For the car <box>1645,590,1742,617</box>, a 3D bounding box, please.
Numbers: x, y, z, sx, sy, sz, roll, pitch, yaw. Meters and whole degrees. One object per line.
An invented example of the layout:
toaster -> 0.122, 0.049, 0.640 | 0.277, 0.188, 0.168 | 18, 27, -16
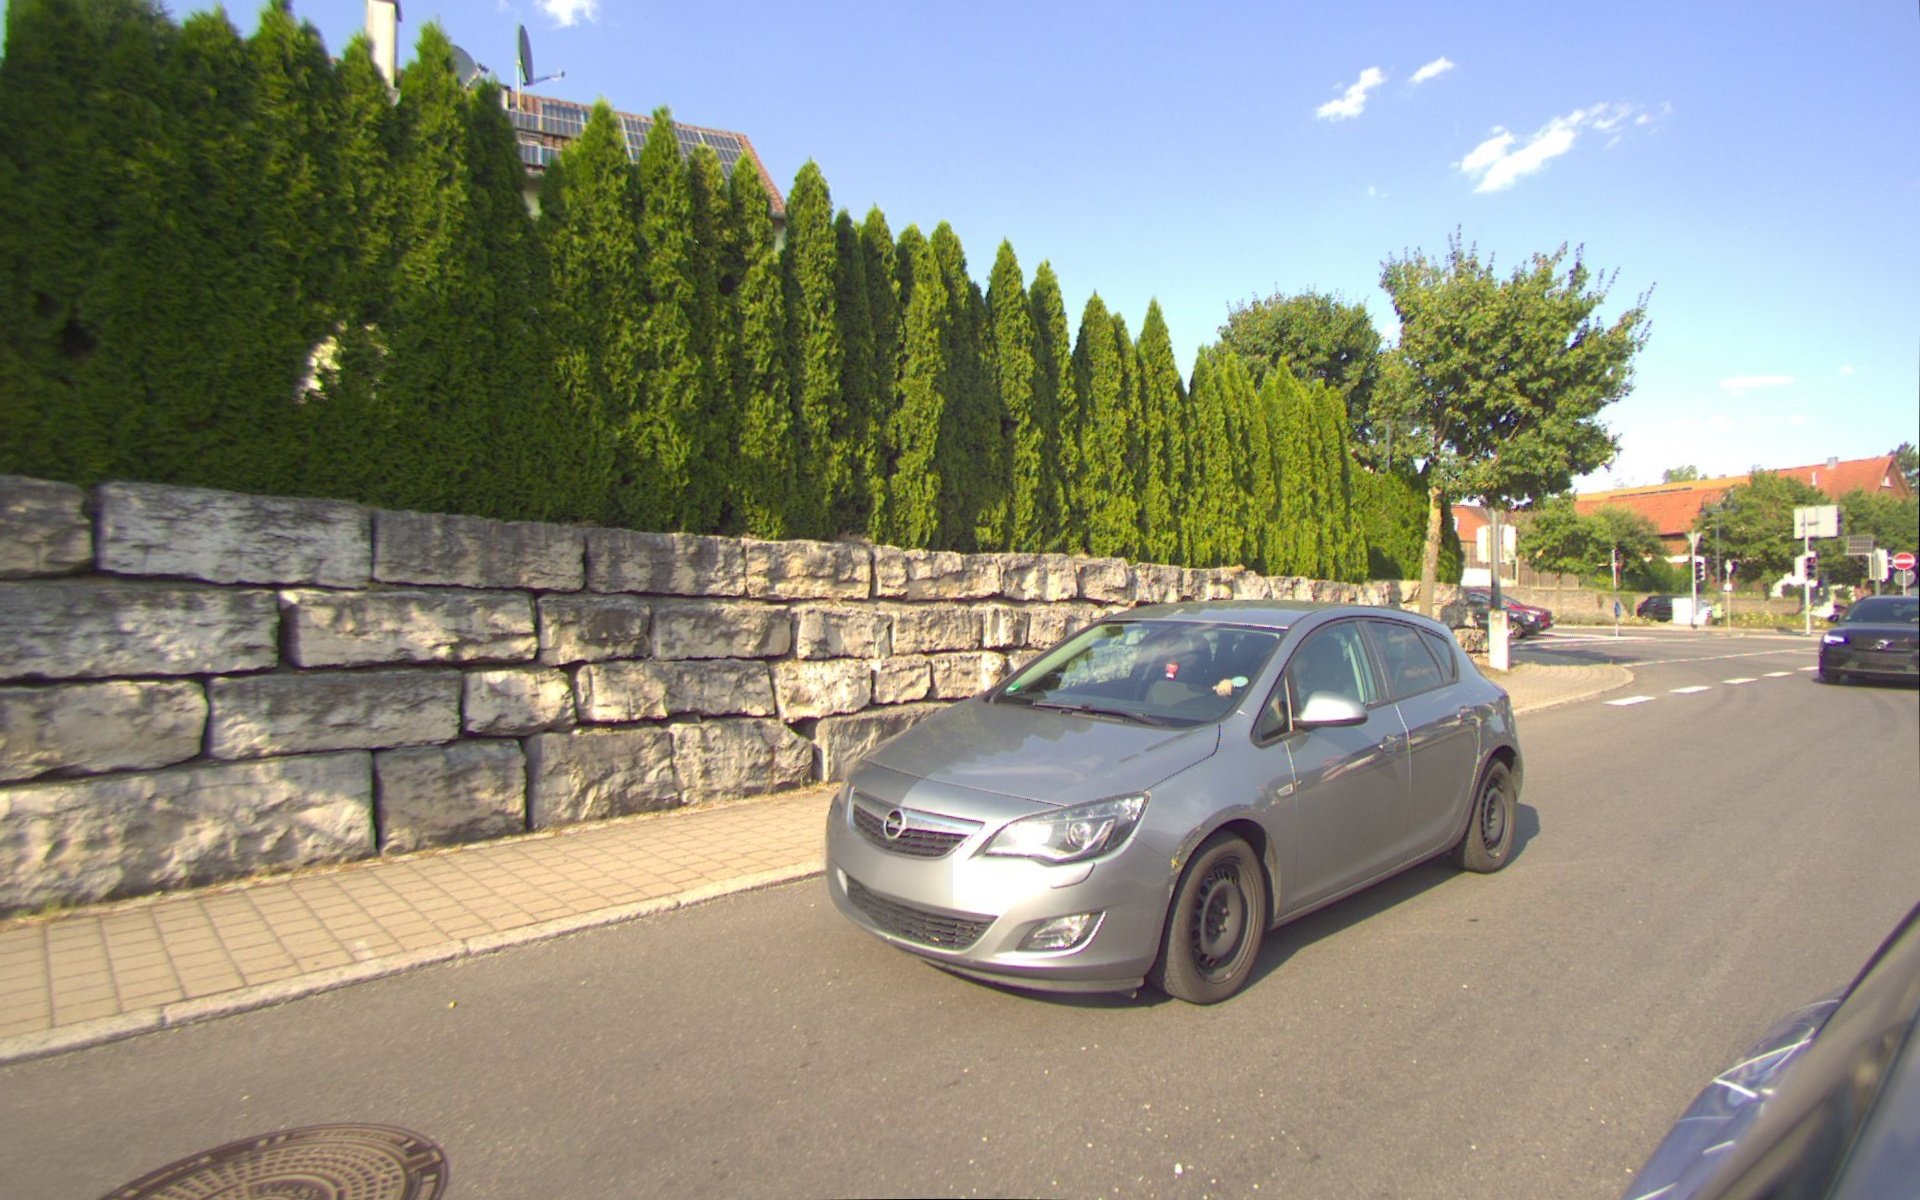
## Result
car -> 40.982, 0.182, 56.624 | 1.644, 1.475, 4.086 | 1, 0, -26

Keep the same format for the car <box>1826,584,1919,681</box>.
car -> 17.326, 0.558, 18.361 | 3.983, 1.626, 1.791 | 1, 0, -39

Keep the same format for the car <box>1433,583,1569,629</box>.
car -> 20.562, 0.200, 38.579 | 1.832, 1.646, 4.241 | 1, 0, -44

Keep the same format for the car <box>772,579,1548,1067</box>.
car -> 1.277, 0.674, 5.018 | 4.072, 1.440, 1.650 | 1, 1, -42

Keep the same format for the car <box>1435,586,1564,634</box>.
car -> 18.453, 0.305, 34.660 | 3.773, 1.561, 1.579 | 0, 0, 34
